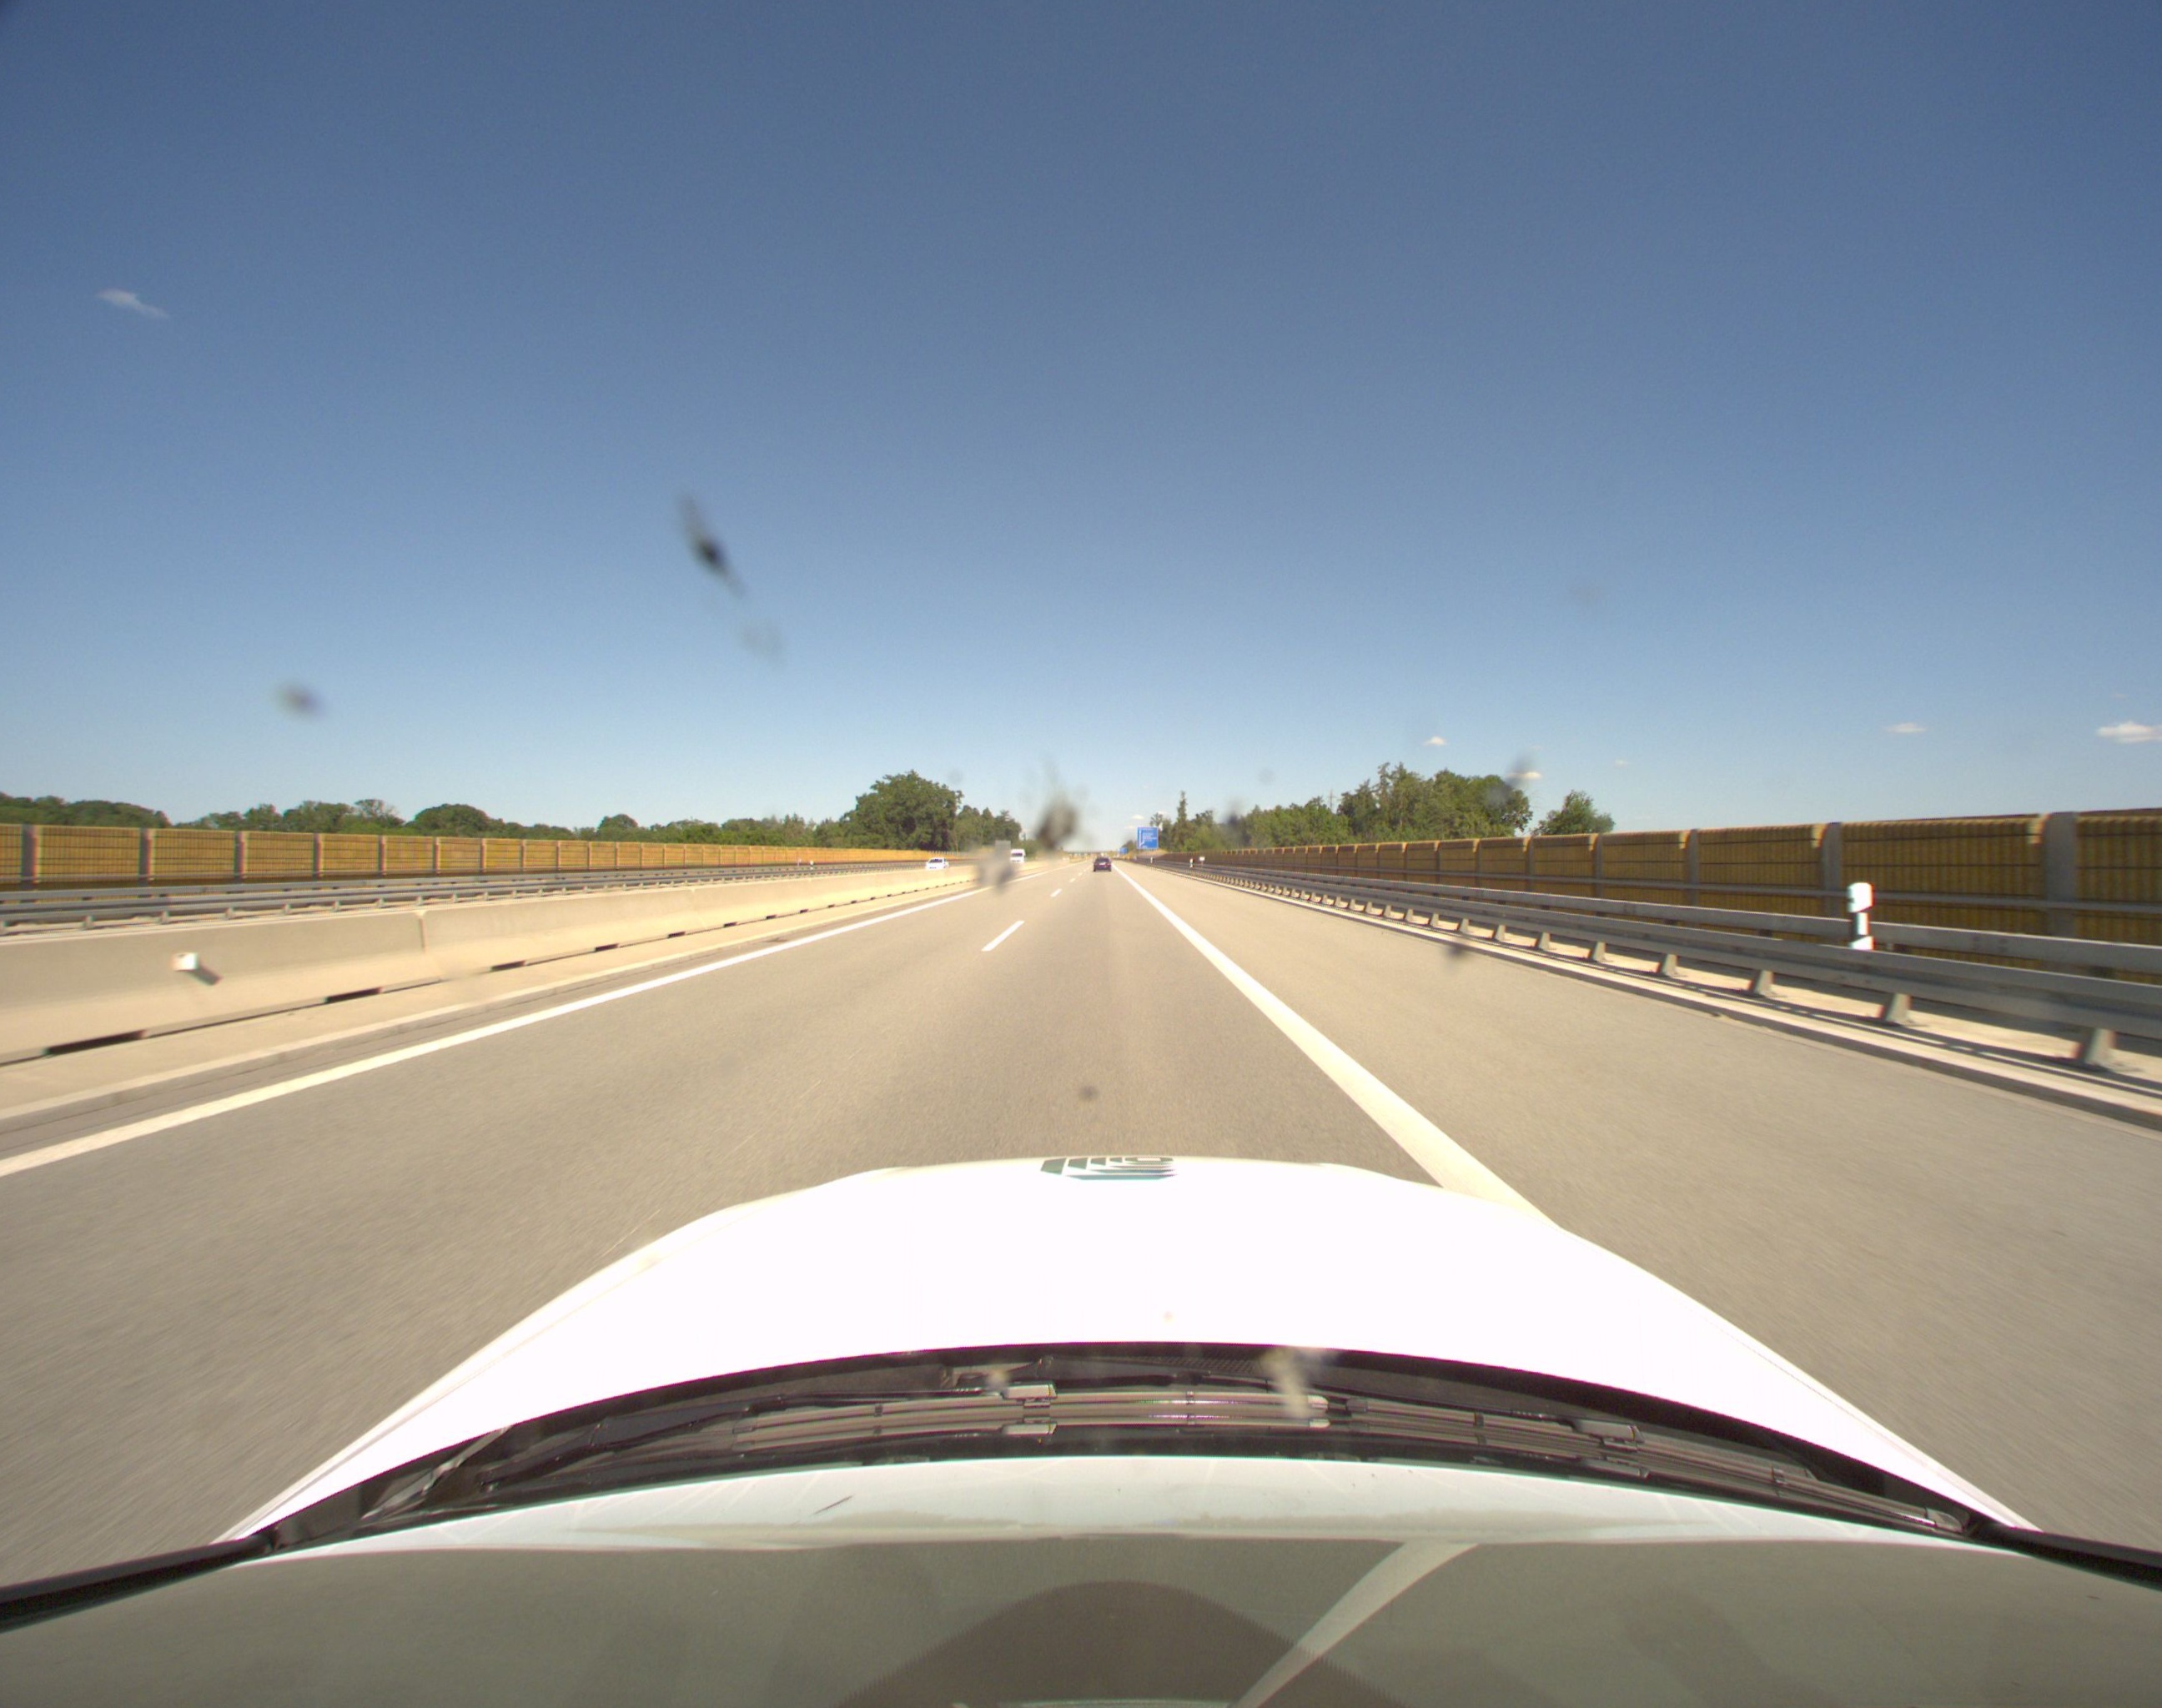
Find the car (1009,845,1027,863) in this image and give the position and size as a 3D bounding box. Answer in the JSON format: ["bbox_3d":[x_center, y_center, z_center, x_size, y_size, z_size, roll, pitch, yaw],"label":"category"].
[{"bbox_3d":[-9.211,0.015,119.886,2.016,2.670,6.487,-1,0,1],"label":"car"}]

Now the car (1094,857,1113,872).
[{"bbox_3d":[2.264,0.995,80.442,1.783,1.374,3.918,-1,0,2],"label":"car"}]

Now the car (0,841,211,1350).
[{"bbox_3d":[-4.304,0.757,0.542,1.715,1.587,5.224,-1,0,2],"label":"car"}]

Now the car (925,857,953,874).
[{"bbox_3d":[-13.030,1.030,74.855,1.641,1.508,4.334,-1,0,2],"label":"car"}]
